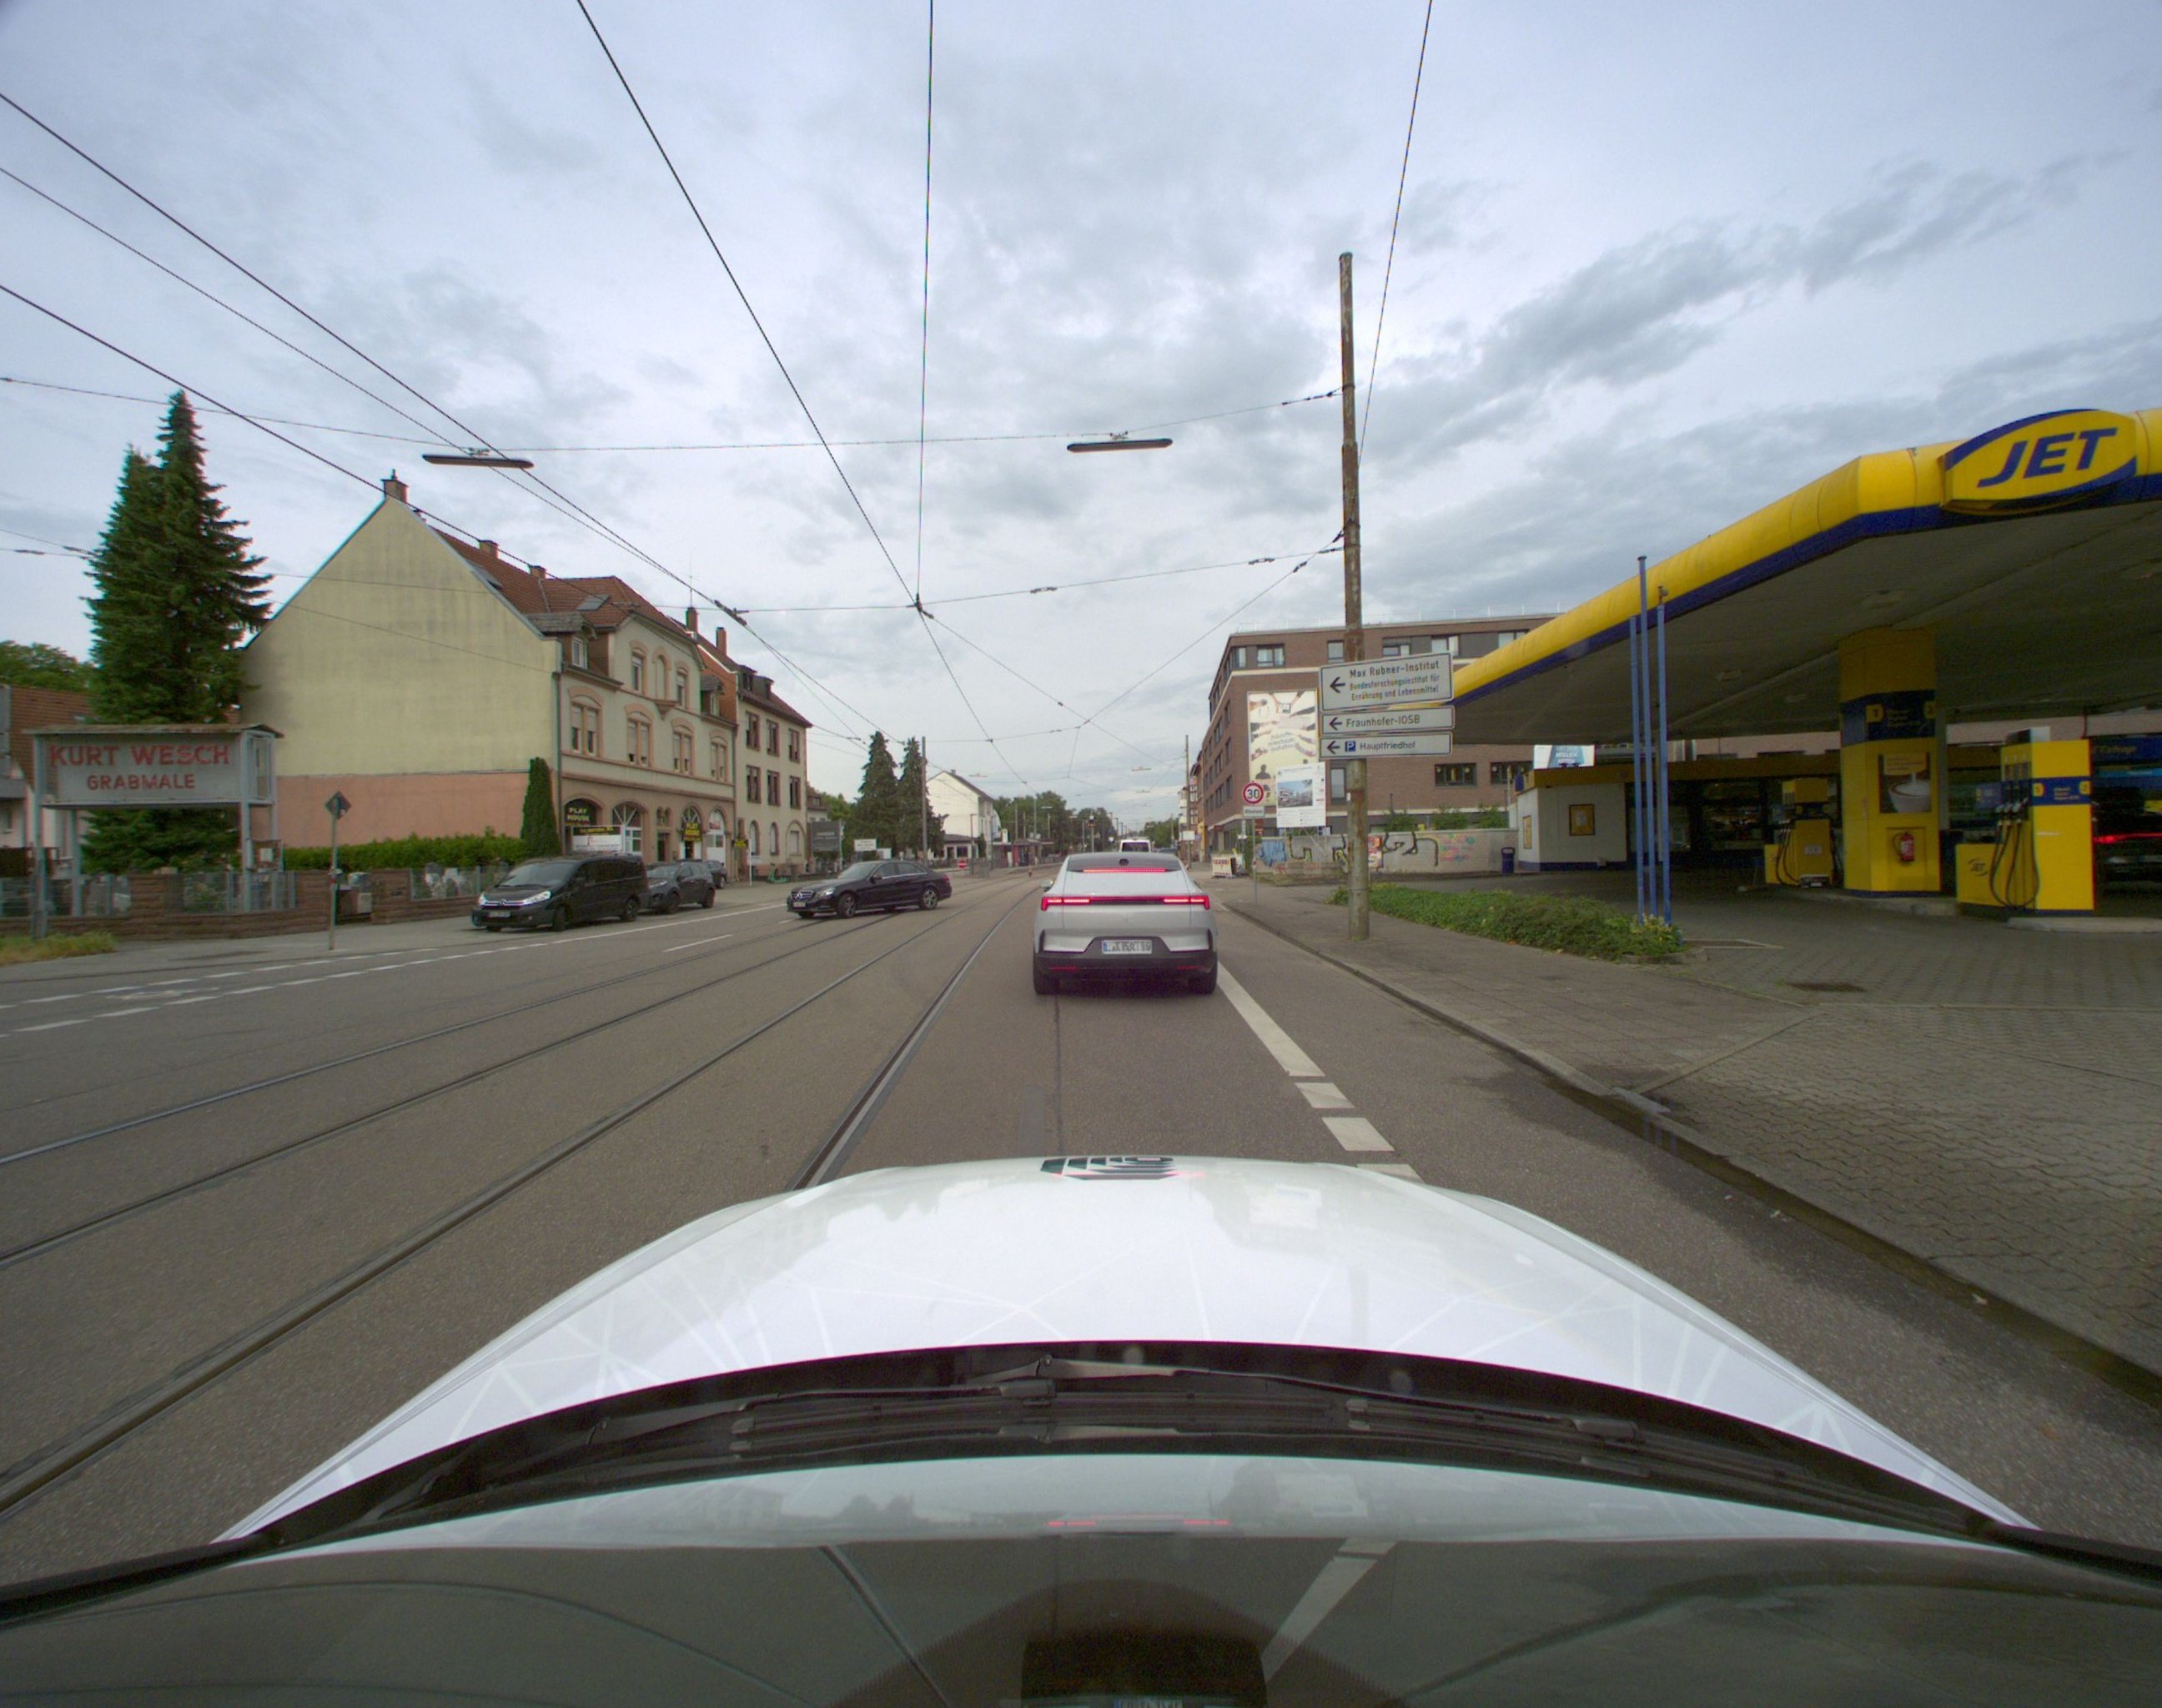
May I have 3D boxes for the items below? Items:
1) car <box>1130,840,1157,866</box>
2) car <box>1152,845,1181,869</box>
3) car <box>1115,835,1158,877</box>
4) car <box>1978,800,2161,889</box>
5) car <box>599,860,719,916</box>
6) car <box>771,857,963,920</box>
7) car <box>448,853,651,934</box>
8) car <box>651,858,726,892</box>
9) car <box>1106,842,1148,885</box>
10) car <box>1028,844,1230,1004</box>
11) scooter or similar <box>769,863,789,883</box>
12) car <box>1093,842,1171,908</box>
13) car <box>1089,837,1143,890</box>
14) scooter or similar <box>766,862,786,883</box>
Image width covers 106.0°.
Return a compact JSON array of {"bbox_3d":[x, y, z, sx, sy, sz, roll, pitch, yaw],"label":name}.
[{"bbox_3d":[5.484,-0.067,71.961,2.132,2.146,4.744,0,-1,1],"label":"car"},{"bbox_3d":[6.506,0.245,62.157,1.868,1.823,4.096,0,-1,1],"label":"car"},{"bbox_3d":[3.245,0.132,48.599,2.209,2.423,4.950,0,-1,0],"label":"car"},{"bbox_3d":[19.724,-0.242,15.804,1.971,1.497,4.354,-3,1,32],"label":"car"},{"bbox_3d":[-13.978,1.077,27.267,1.839,1.718,4.191,0,-1,-1],"label":"car"},{"bbox_3d":[-5.721,0.873,22.343,1.927,1.427,4.917,-2,0,37],"label":"car"},{"bbox_3d":[-13.675,0.935,21.425,1.985,1.887,4.998,0,-1,0],"label":"car"},{"bbox_3d":[-18.465,0.956,38.500,1.748,1.500,3.745,0,-1,-1],"label":"car"},{"bbox_3d":[2.234,0.459,40.559,1.986,2.014,4.001,0,-1,1],"label":"car"},{"bbox_3d":[0.398,0.679,10.048,1.977,1.550,4.179,0,0,-2],"label":"car"},{"bbox_3d":[-17.640,1.113,47.578,1.056,1.188,0.315,1,-1,-35],"label":"scooter or similar"},{"bbox_3d":[1.387,0.576,23.465,1.963,1.756,3.836,0,-1,-1],"label":"car"},{"bbox_3d":[1.340,0.381,32.761,1.987,2.014,3.999,0,-1,0],"label":"car"},{"bbox_3d":[-17.972,1.091,47.940,1.056,1.188,0.315,1,-1,-35],"label":"scooter or similar"}]
